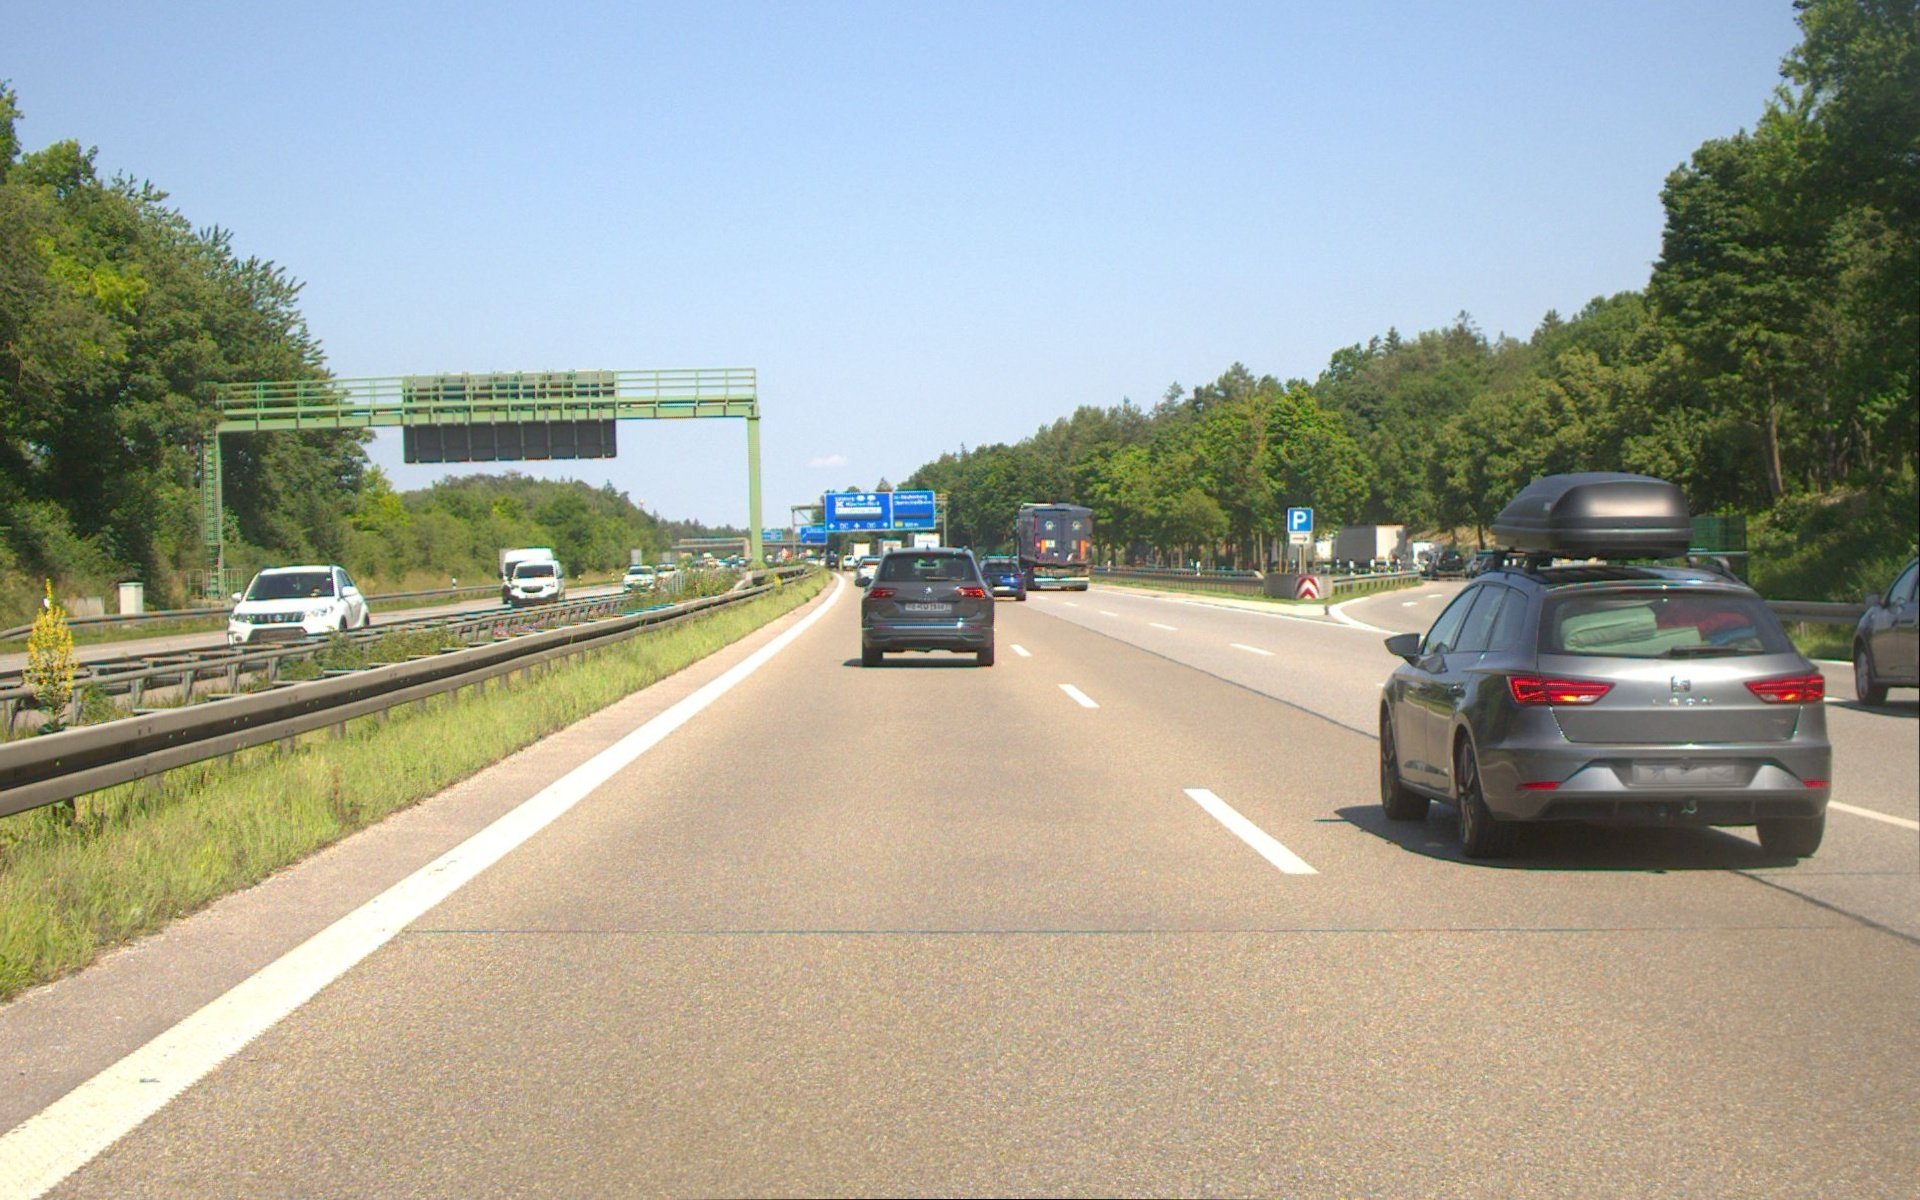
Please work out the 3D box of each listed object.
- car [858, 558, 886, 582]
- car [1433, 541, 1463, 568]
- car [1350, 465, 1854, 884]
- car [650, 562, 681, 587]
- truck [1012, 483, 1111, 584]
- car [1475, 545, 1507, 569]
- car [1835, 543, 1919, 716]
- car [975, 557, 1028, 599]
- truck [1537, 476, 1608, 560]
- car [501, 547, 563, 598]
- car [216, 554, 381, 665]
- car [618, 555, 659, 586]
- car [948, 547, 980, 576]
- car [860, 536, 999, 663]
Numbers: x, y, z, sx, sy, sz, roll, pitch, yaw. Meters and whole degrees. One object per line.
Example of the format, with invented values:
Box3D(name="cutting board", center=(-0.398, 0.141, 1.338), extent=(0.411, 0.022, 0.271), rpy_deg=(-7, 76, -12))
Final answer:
Box3D(name="car", center=(-4.780, -1.640, 186.829), extent=(1.471, 1.223, 3.411), rpy_deg=(-1, 1, -1))
Box3D(name="car", center=(35.187, -3.264, 247.854), extent=(1.656, 1.871, 4.800), rpy_deg=(-1, 1, 3))
Box3D(name="car", center=(3.219, 0.292, 18.179), extent=(1.665, 1.870, 4.828), rpy_deg=(-2, 1, -1))
Box3D(name="car", center=(-19.148, -1.664, 223.808), extent=(1.665, 1.459, 3.883), rpy_deg=(-4, 1, -1))
Box3D(name="truck", center=(4.569, -3.030, 158.202), extent=(3.780, 4.407, 14.052), rpy_deg=(0, 1, -1))
Box3D(name="car", center=(35.709, -2.900, 231.418), extent=(1.994, 1.568, 3.999), rpy_deg=(-1, 1, 7))
Box3D(name="car", center=(9.641, 0.257, 32.418), extent=(1.765, 1.563, 4.258), rpy_deg=(0, 1, 1))
Box3D(name="car", center=(1.446, -0.768, 117.721), extent=(1.765, 1.377, 4.258), rpy_deg=(0, 1, 1))
Box3D(name="truck", center=(30.101, -4.022, 169.208), extent=(3.286, 3.933, 9.347), rpy_deg=(-1, 1, 10))
Box3D(name="car", center=(-16.255, -1.060, 130.893), extent=(1.746, 1.824, 5.169), rpy_deg=(-3, 1, -1))
Box3D(name="car", center=(-10.575, 0.121, 55.210), extent=(1.812, 1.611, 3.914), rpy_deg=(-3, 1, 0))
Box3D(name="car", center=(-18.040, -1.669, 192.956), extent=(1.878, 1.605, 5.310), rpy_deg=(-3, 1, -1))
Box3D(name="car", center=(0.187, -1.954, 174.874), extent=(1.471, 1.393, 3.411), rpy_deg=(2, 1, -1))
Box3D(name="car", center=(-0.378, -0.049, 47.834), extent=(1.799, 1.663, 4.258), rpy_deg=(0, 1, 1))
